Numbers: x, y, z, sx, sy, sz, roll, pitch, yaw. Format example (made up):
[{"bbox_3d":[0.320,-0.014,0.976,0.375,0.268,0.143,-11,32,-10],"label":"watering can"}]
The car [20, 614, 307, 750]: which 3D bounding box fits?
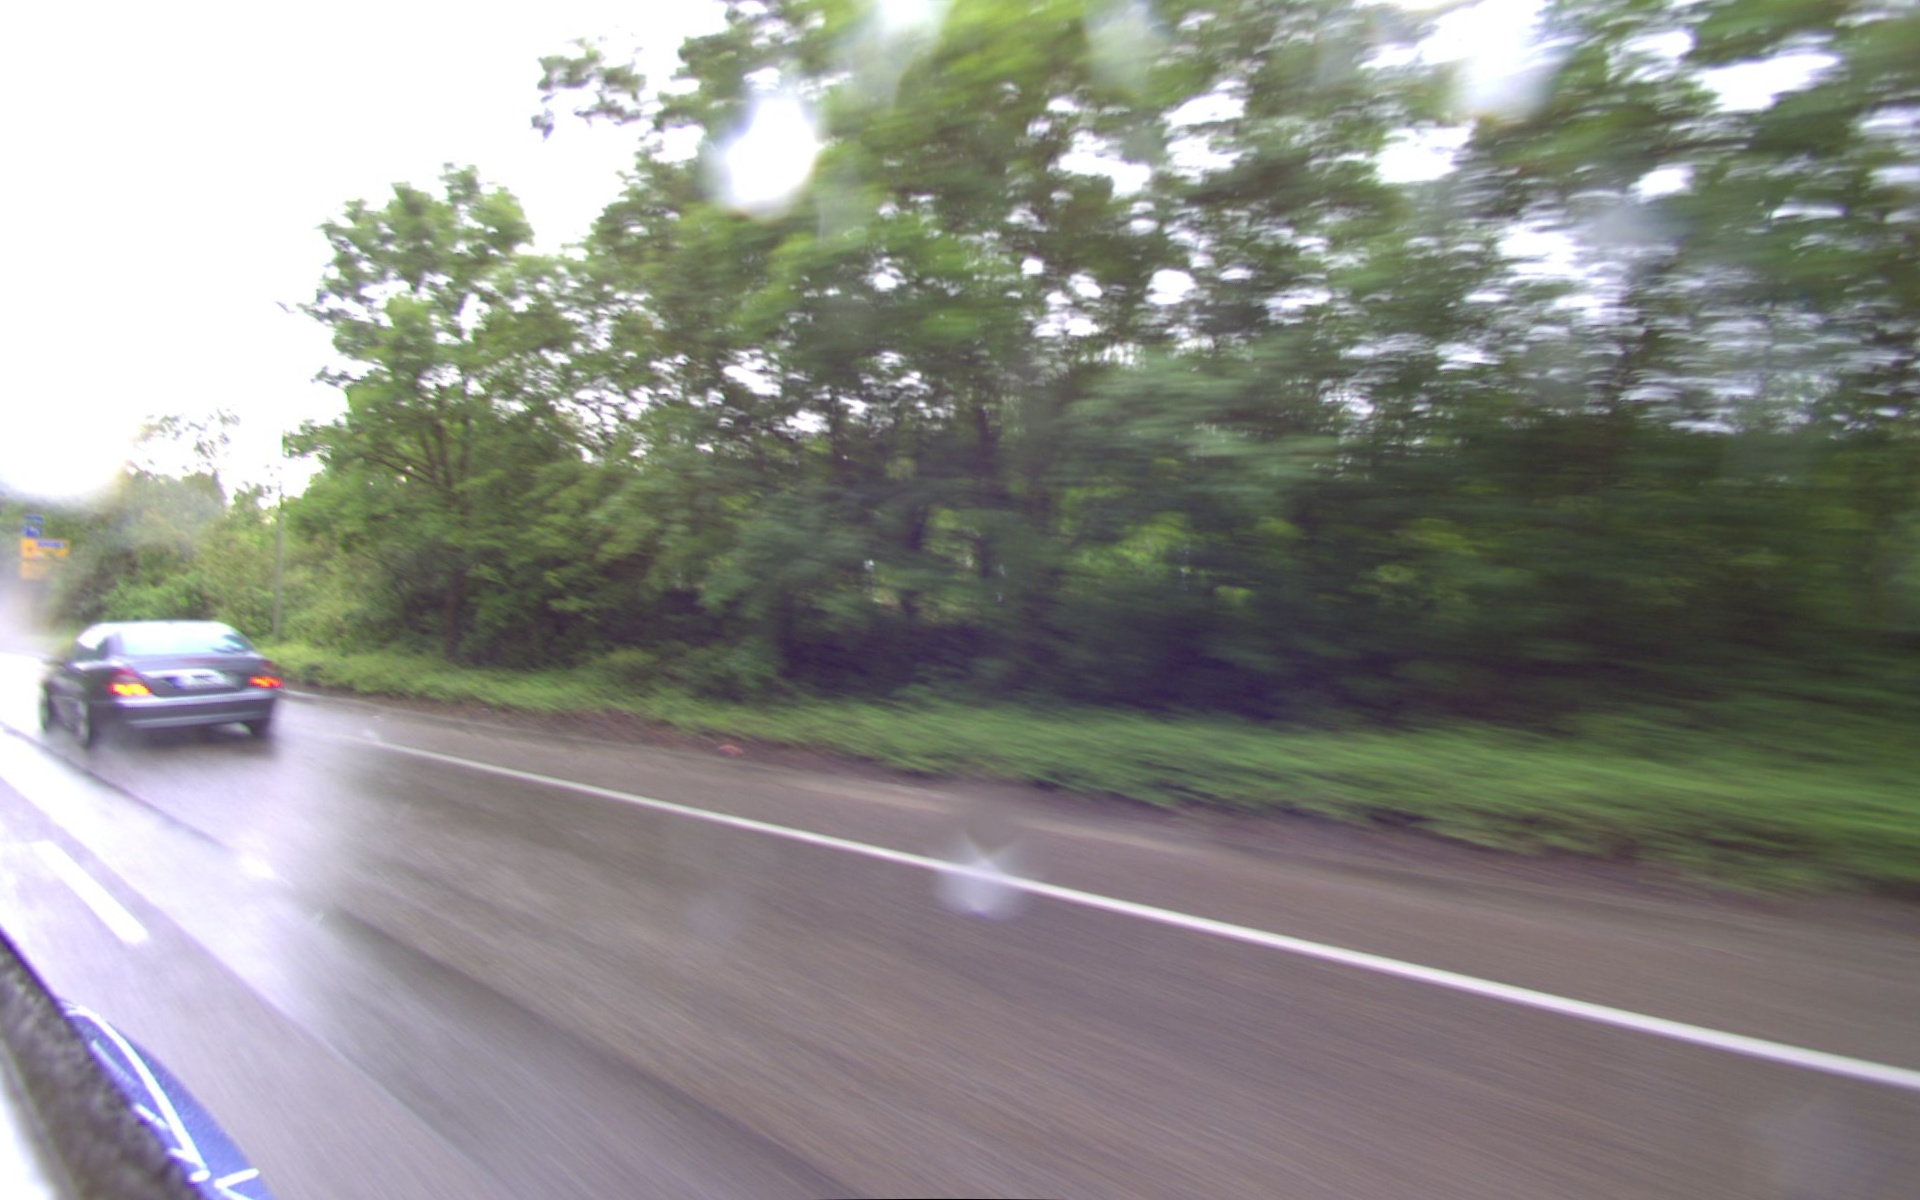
[{"bbox_3d":[-9.896,0.882,12.468,4.248,1.374,1.973,-1,-1,40],"label":"car"}]
